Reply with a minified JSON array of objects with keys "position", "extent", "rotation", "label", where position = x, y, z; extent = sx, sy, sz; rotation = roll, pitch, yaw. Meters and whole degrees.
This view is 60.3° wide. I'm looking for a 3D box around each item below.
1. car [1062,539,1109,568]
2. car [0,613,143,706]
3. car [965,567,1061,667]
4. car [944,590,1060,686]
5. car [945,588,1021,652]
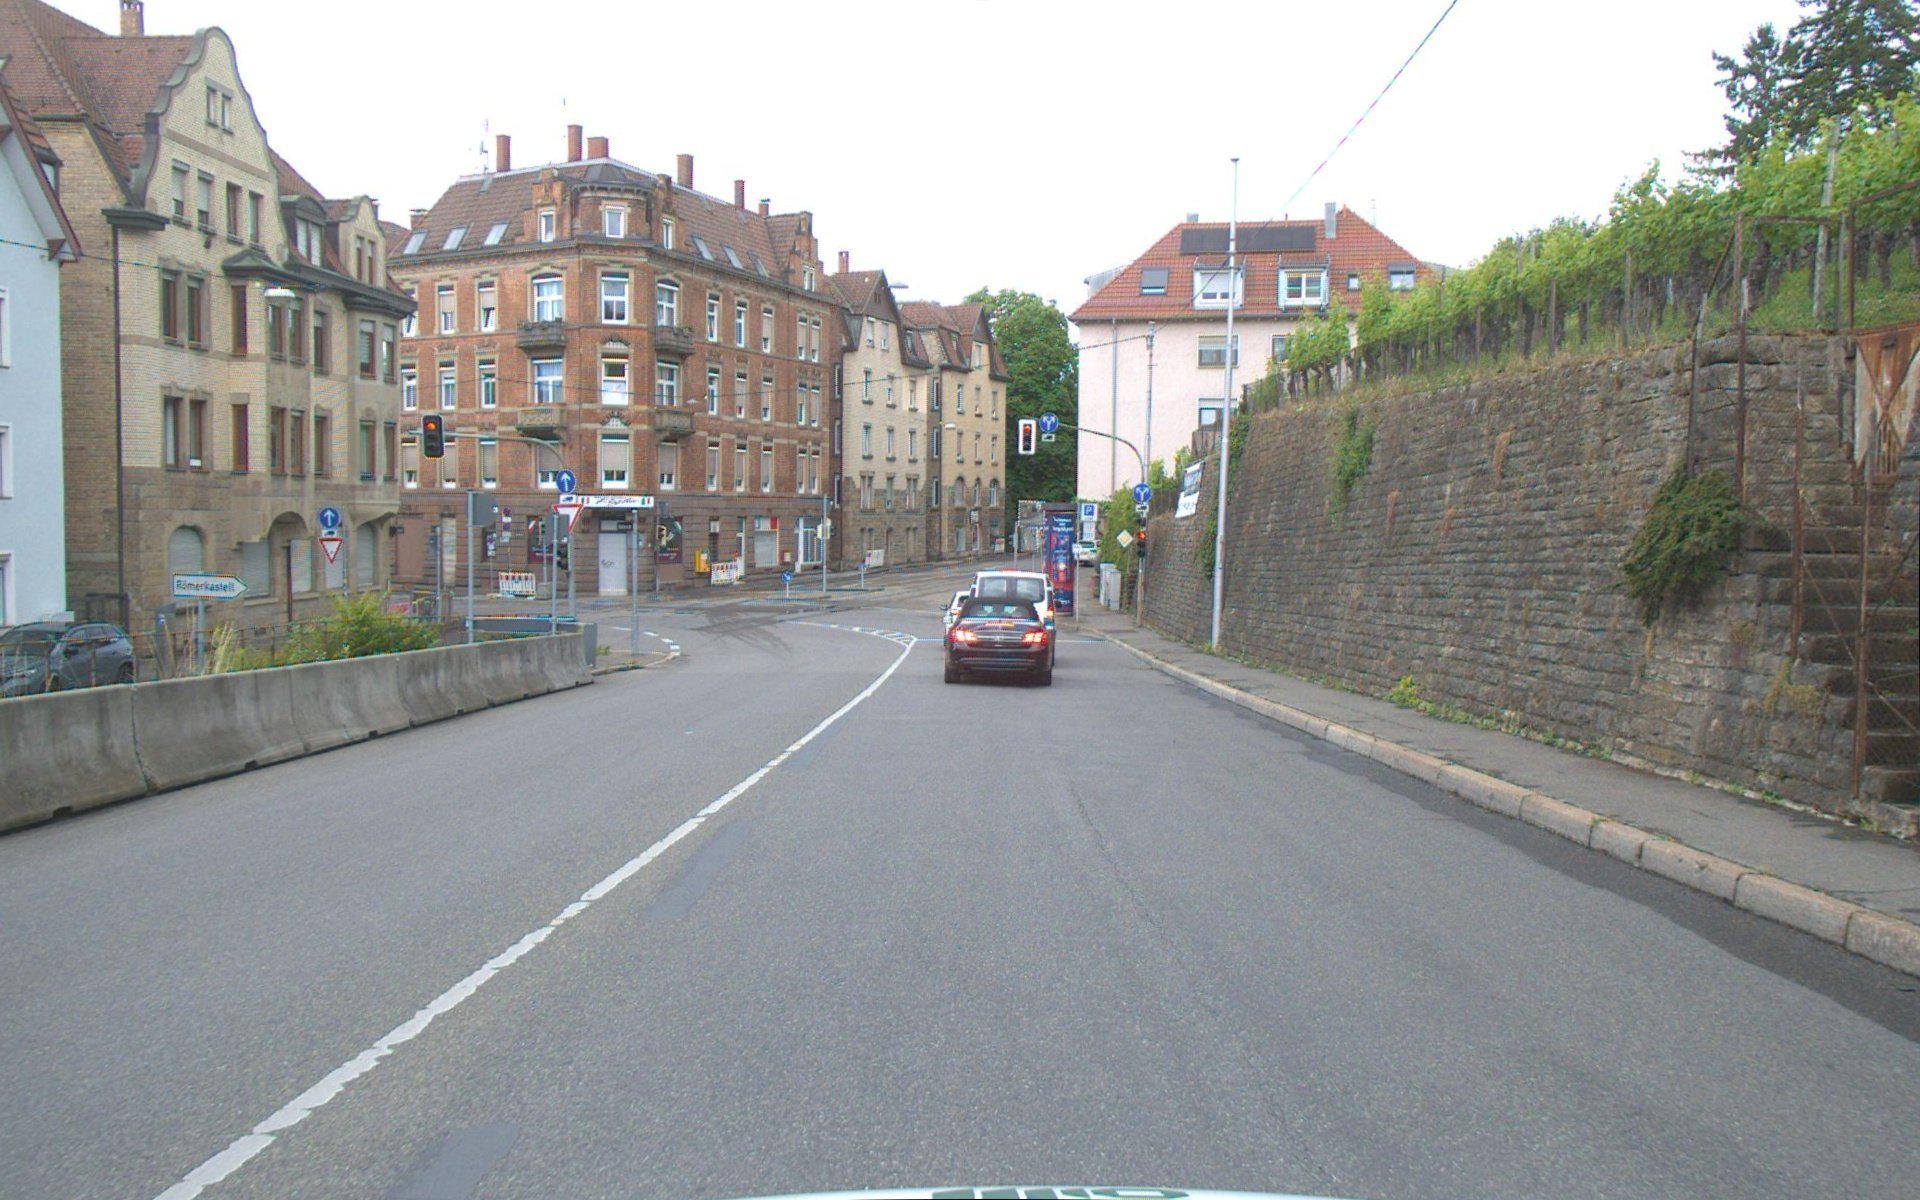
[{"position":[7.976,-2.953,104.763],"extent":[1.803,1.731,4.000],"rotation":[1,2,22],"label":"car"},{"position":[-18.249,1.137,32.951],"extent":[1.756,1.536,4.003],"rotation":[-1,2,3],"label":"car"},{"position":[1.058,0.320,34.813],"extent":[1.870,1.917,4.000],"rotation":[2,0,0],"label":"car"},{"position":[0.664,0.591,28.030],"extent":[1.779,1.455,4.000],"rotation":[2,0,0],"label":"car"},{"position":[0.558,0.468,41.765],"extent":[1.803,1.466,4.000],"rotation":[2,0,0],"label":"car"}]
